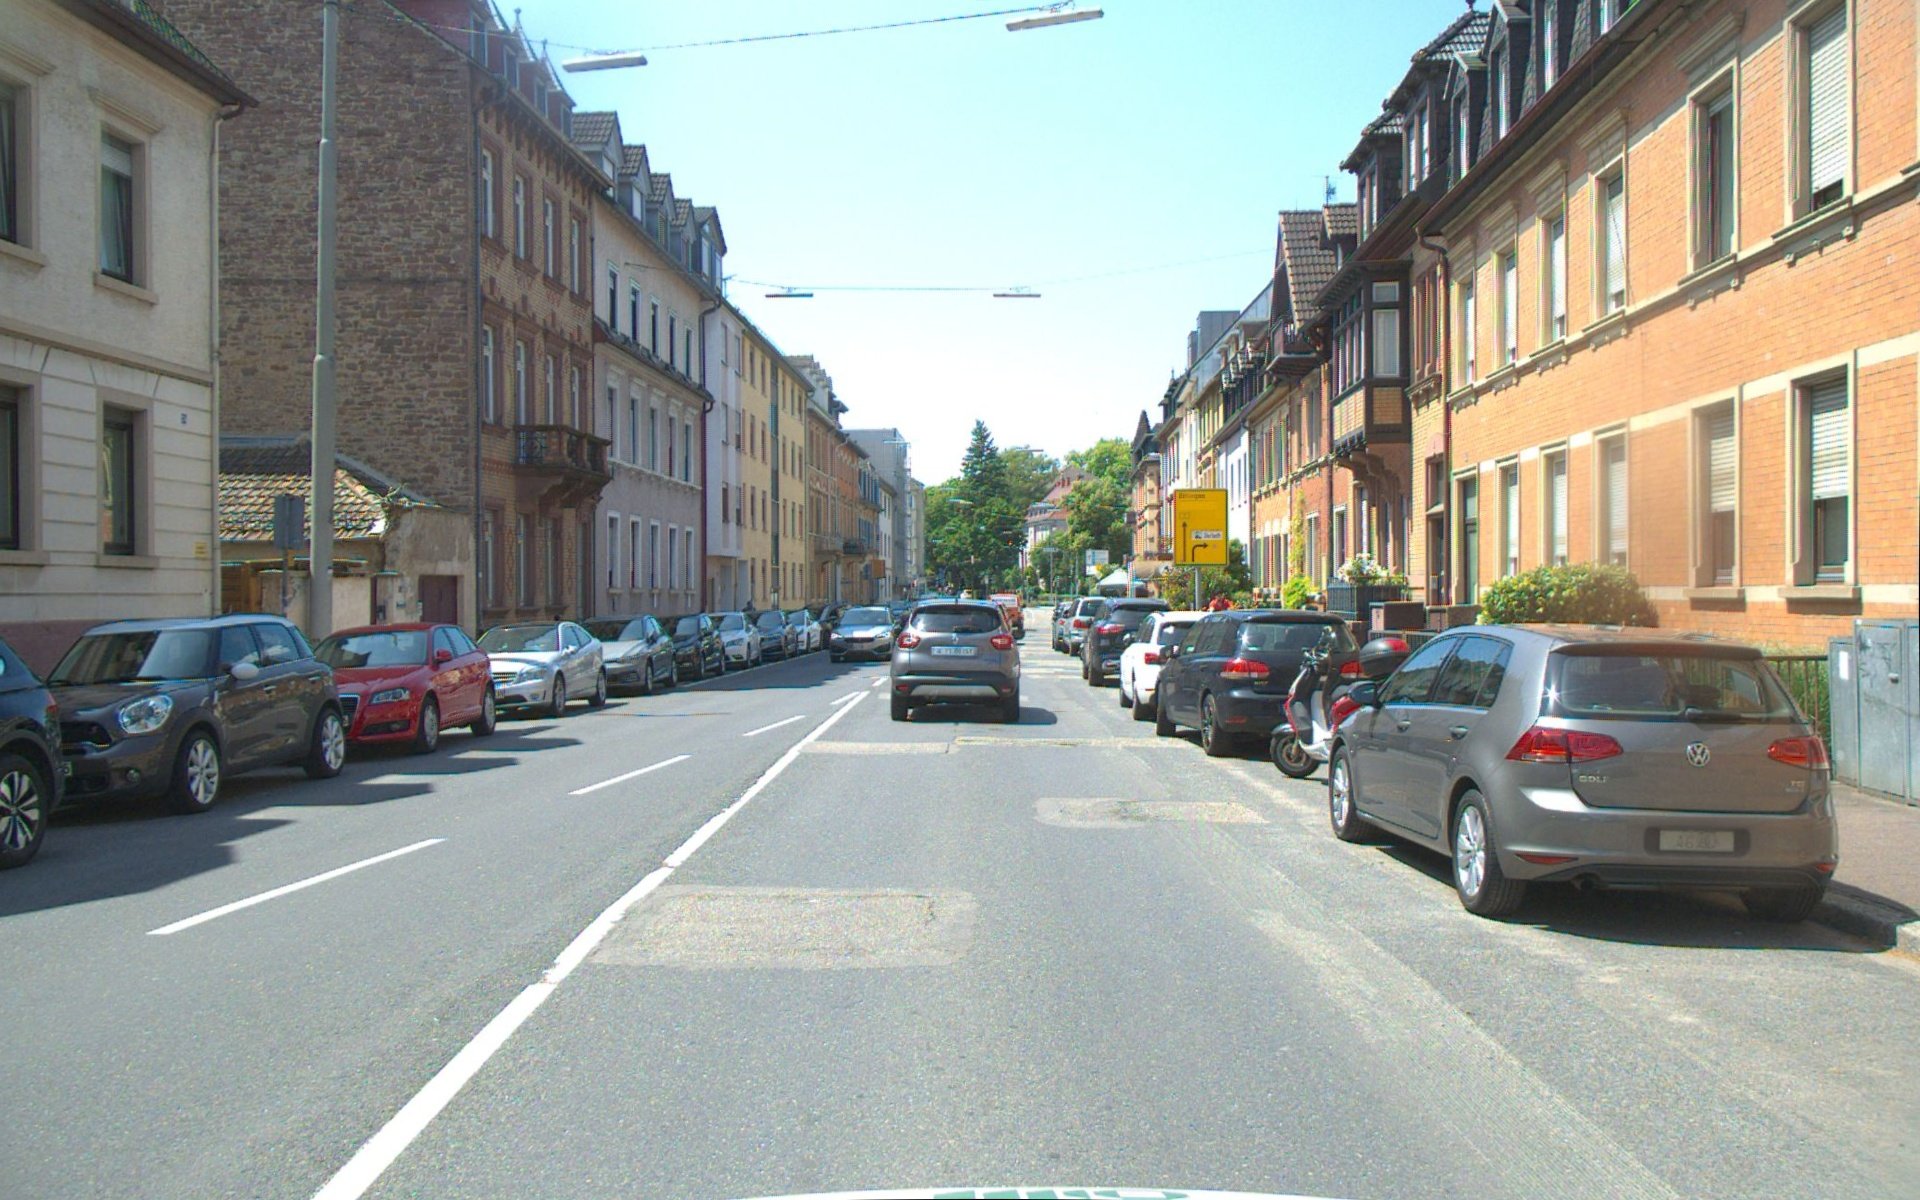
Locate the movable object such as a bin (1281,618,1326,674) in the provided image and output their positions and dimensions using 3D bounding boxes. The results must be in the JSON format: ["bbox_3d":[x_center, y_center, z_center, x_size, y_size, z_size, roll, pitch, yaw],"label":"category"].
[{"bbox_3d":[6.950,0.927,33.452,0.772,1.107,0.539,-1,0,-2],"label":"movable object such as a bin"}]

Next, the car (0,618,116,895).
[{"bbox_3d":[-6.559,0.943,8.752,1.802,1.624,4.502,-2,-1,0],"label":"car"}]

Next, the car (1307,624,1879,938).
[{"bbox_3d":[3.336,0.860,9.637,1.666,1.405,4.165,1,-1,-1],"label":"car"}]

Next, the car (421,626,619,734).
[{"bbox_3d":[-6.744,1.179,25.834,1.802,1.447,4.502,-2,-1,0],"label":"car"}]

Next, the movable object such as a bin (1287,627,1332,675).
[{"bbox_3d":[6.938,1.007,32.828,0.772,0.923,0.539,-1,0,-2],"label":"movable object such as a bin"}]

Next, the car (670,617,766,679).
[{"bbox_3d":[-6.202,1.211,42.822,1.802,1.447,4.501,-2,-1,-1],"label":"car"}]

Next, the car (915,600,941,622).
[{"bbox_3d":[-2.709,0.936,139.716,1.865,1.853,4.304,-1,0,3],"label":"car"}]

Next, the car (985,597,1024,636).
[{"bbox_3d":[2.449,0.879,90.148,1.952,2.049,4.468,-1,0,3],"label":"car"}]

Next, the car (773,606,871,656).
[{"bbox_3d":[-5.033,1.125,60.882,1.865,1.666,4.559,-2,0,19],"label":"car"}]

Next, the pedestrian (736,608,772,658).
[{"bbox_3d":[-7.424,1.201,59.697,1.127,1.780,0.970,0,0,4],"label":"pedestrian"}]

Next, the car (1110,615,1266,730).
[{"bbox_3d":[3.132,0.956,23.522,1.681,1.439,4.590,-1,0,2],"label":"car"}]

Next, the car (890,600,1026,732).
[{"bbox_3d":[0.014,0.866,23.107,1.708,1.645,4.000,1,-1,1],"label":"car"}]

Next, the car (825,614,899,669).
[{"bbox_3d":[-2.668,1.121,45.870,1.754,1.445,4.314,-1,0,0],"label":"car"}]

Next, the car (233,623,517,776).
[{"bbox_3d":[-6.630,1.056,19.305,1.803,1.447,4.500,-3,0,-2],"label":"car"}]

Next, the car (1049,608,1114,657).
[{"bbox_3d":[4.022,1.072,55.481,1.822,1.513,4.309,2,0,0],"label":"car"}]

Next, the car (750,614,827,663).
[{"bbox_3d":[-5.600,1.252,54.531,1.801,1.447,4.559,-3,-1,2],"label":"car"}]

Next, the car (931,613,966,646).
[{"bbox_3d":[-0.642,1.677,96.017,1.953,1.824,5.147,-1,0,0],"label":"car"}]

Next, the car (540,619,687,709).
[{"bbox_3d":[-6.542,1.170,31.699,1.803,1.447,4.501,-5,-1,-1],"label":"car"}]

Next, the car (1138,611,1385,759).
[{"bbox_3d":[3.211,0.858,18.474,1.616,1.439,4.497,1,-1,-5],"label":"car"}]

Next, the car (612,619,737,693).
[{"bbox_3d":[-6.391,1.217,37.567,1.802,1.447,4.503,-4,-1,2],"label":"car"}]

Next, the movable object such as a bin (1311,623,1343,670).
[{"bbox_3d":[8.634,1.092,38.945,0.596,1.095,0.761,0,0,2],"label":"movable object such as a bin"}]

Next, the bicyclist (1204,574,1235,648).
[{"bbox_3d":[5.337,0.222,34.050,0.521,1.495,0.791,-1,-1,2],"label":"bicyclist"}]

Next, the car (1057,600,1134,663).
[{"bbox_3d":[4.061,0.906,50.268,1.823,1.778,4.617,2,0,-1],"label":"car"}]

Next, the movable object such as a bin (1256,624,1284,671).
[{"bbox_3d":[7.298,1.108,38.983,0.545,1.094,0.727,0,0,2],"label":"movable object such as a bin"}]

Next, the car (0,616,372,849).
[{"bbox_3d":[-6.837,1.011,14.279,1.802,1.624,4.502,-3,-1,0],"label":"car"}]

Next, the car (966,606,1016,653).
[{"bbox_3d":[1.119,1.078,62.282,1.775,1.649,4.441,-2,0,0],"label":"car"}]

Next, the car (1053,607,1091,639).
[{"bbox_3d":[5.741,1.165,85.020,1.821,1.580,4.001,2,0,3],"label":"car"}]

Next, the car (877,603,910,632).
[{"bbox_3d":[-3.984,1.050,99.650,1.866,1.648,4.300,-2,0,-2],"label":"car"}]

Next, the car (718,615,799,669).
[{"bbox_3d":[-5.886,1.210,48.753,1.802,1.447,4.645,-2,-1,-1],"label":"car"}]

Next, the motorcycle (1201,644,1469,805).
[{"bbox_3d":[3.187,1.010,14.110,1.959,1.247,1.107,-1,-2,40],"label":"motorcycle"}]

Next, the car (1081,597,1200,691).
[{"bbox_3d":[3.491,0.826,32.752,1.952,1.691,4.626,-1,0,1],"label":"car"}]

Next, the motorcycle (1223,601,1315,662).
[{"bbox_3d":[7.702,0.786,41.334,2.085,1.433,0.937,-2,-1,1],"label":"motorcycle"}]
